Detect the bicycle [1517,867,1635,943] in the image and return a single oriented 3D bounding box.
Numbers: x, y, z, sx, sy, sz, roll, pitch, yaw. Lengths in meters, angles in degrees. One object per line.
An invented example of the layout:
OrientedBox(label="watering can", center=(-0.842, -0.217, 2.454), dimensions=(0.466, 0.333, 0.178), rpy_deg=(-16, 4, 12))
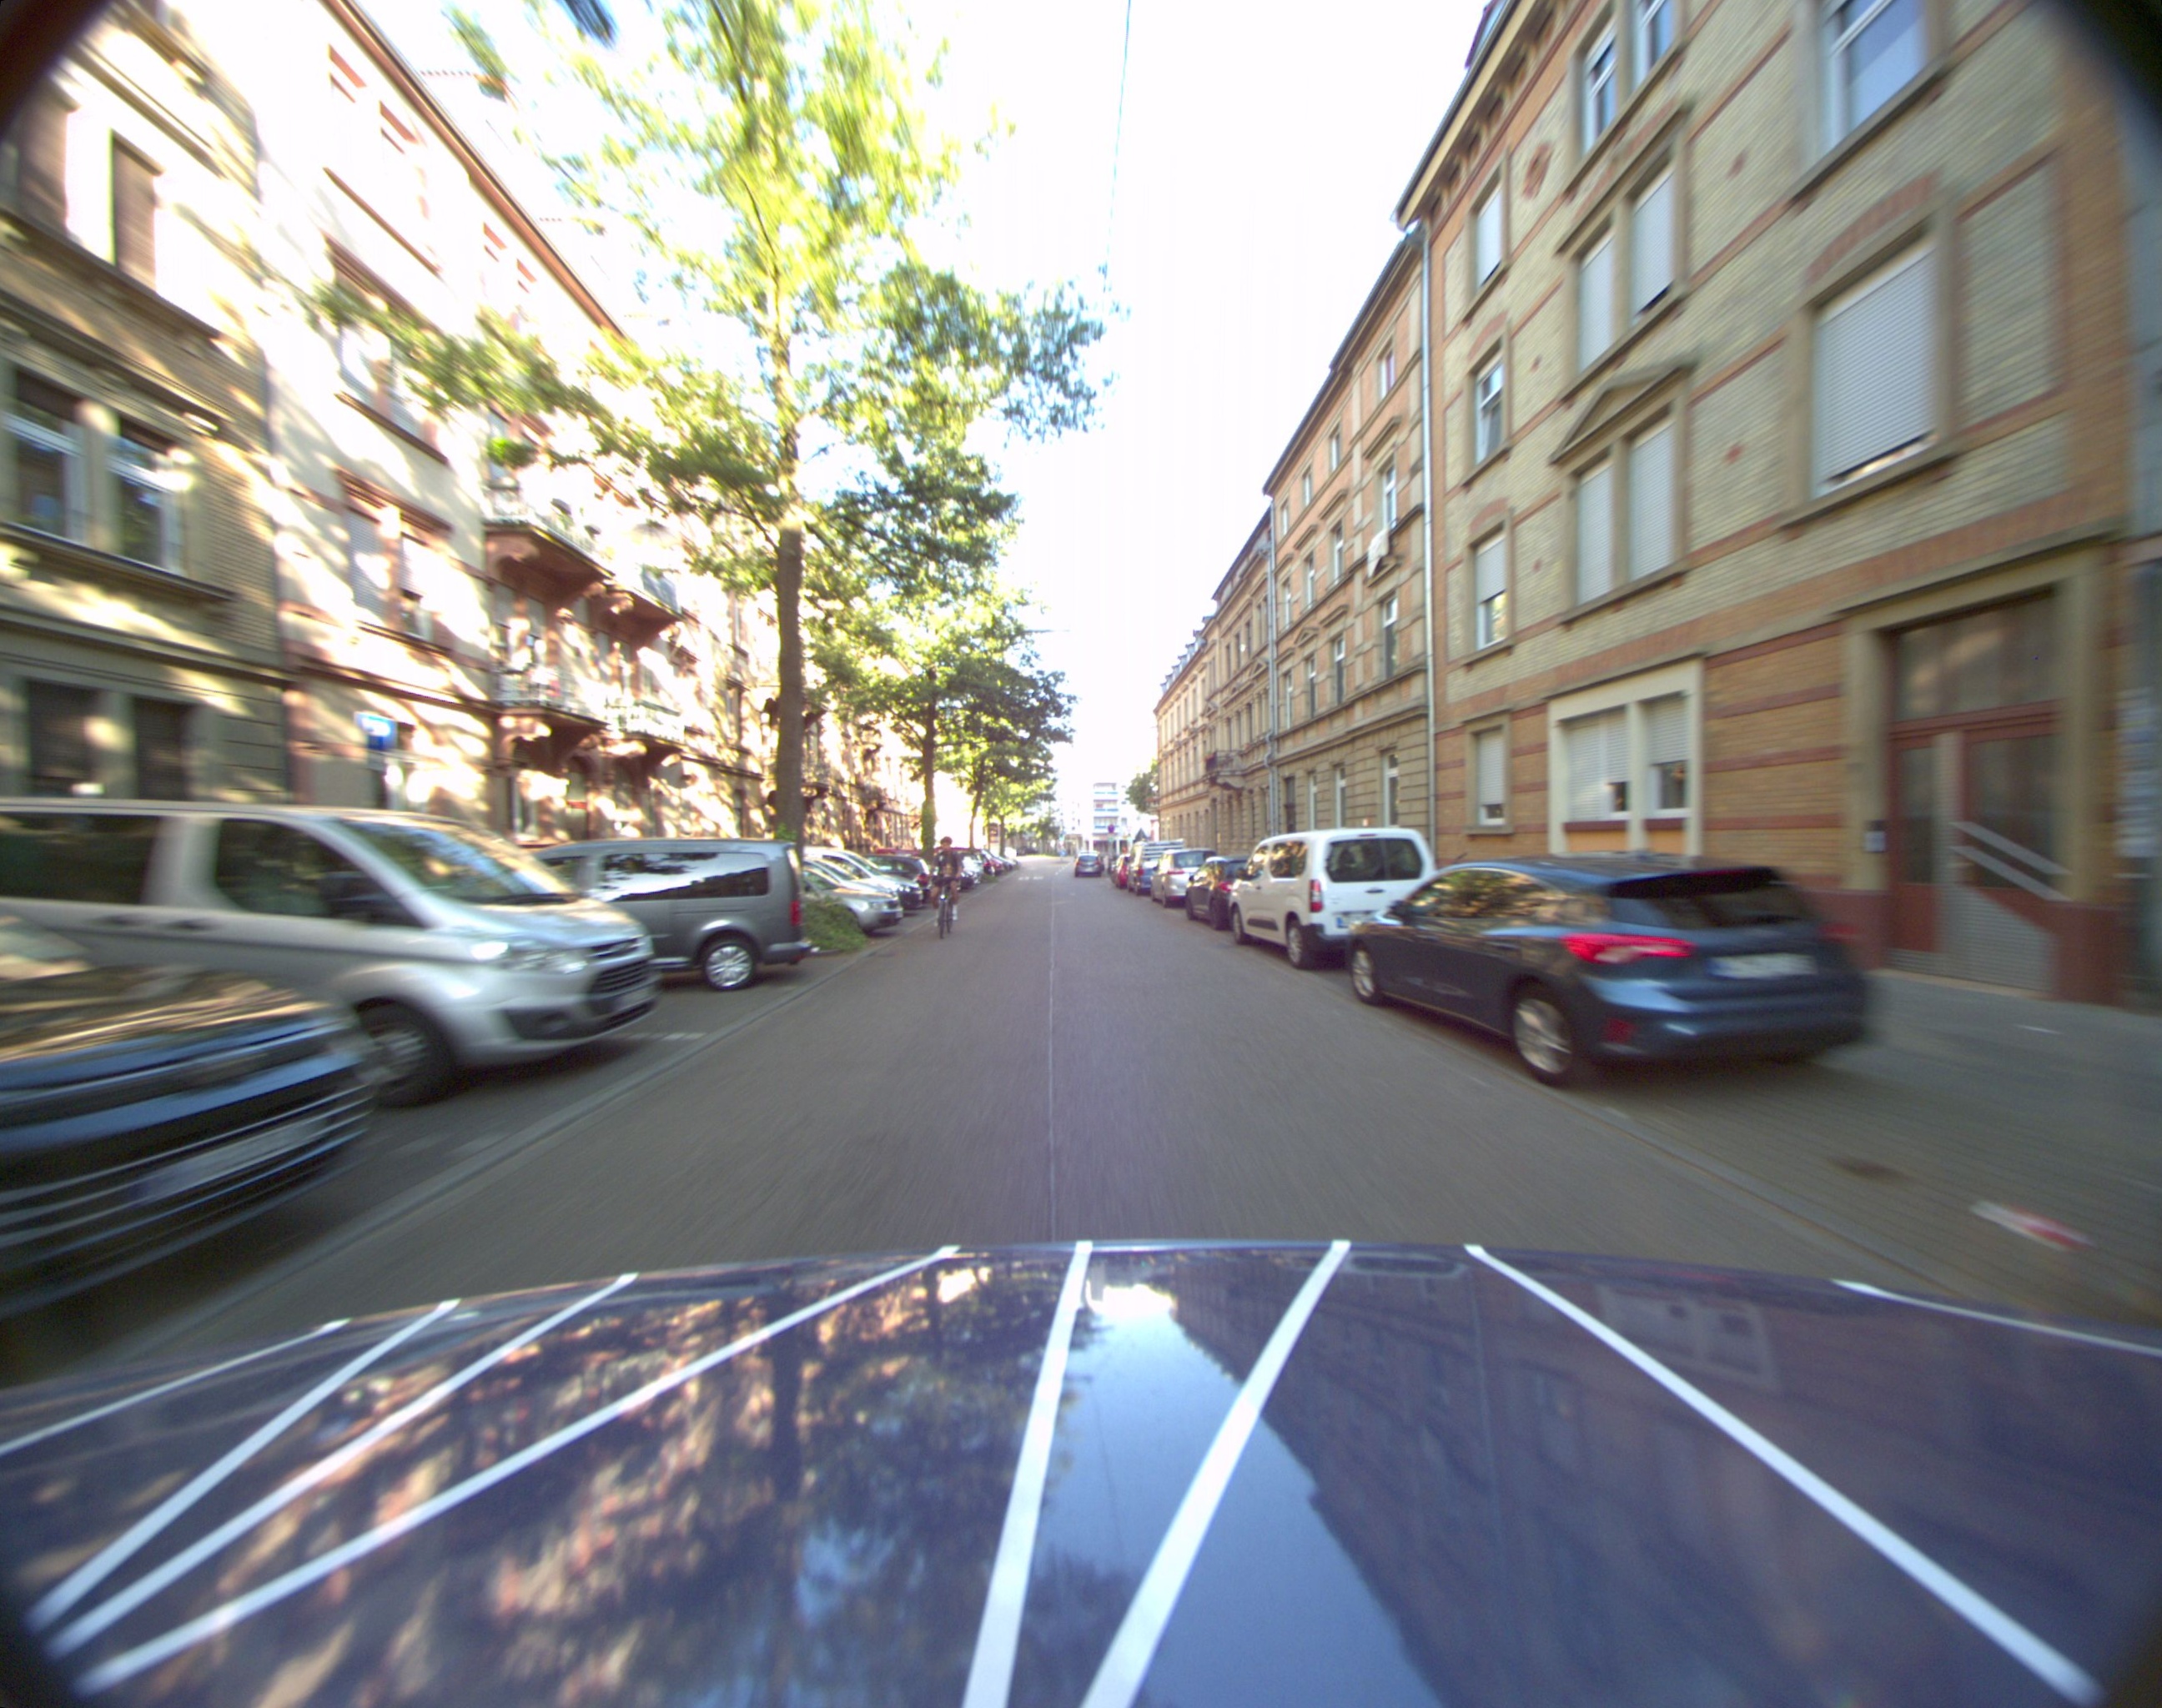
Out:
OrientedBox(label="bicycle", center=(7.626, 0.751, 11.821), dimensions=(0.495, 1.017, 1.908), rpy_deg=(-2, 1, -3))

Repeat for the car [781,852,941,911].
OrientedBox(label="car", center=(-6.423, 0.799, 22.561), dimensions=(4.244, 1.579, 1.738), rpy_deg=(1, 1, -4))

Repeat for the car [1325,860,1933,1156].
OrientedBox(label="car", center=(3.632, 0.833, 6.180), dimensions=(1.751, 1.464, 4.243), rpy_deg=(-2, 1, -3))

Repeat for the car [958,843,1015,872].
OrientedBox(label="car", center=(-7.098, 0.234, 57.470), dimensions=(4.057, 1.922, 1.780), rpy_deg=(3, 1, -2))

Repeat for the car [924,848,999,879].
OrientedBox(label="car", center=(-6.986, 0.538, 44.820), dimensions=(4.057, 1.612, 1.780), rpy_deg=(3, 1, -1))

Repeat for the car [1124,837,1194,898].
OrientedBox(label="car", center=(2.831, 0.447, 28.704), dimensions=(1.947, 2.045, 4.743), rpy_deg=(-2, 1, -2))

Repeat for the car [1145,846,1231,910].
OrientedBox(label="car", center=(3.063, 0.636, 22.493), dimensions=(1.771, 1.648, 4.156), rpy_deg=(-2, 1, -2))

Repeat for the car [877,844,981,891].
OrientedBox(label="car", center=(-6.514, 0.572, 32.871), dimensions=(4.057, 1.876, 1.781), rpy_deg=(1, 1, 0))

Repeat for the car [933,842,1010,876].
OrientedBox(label="car", center=(-7.161, 0.305, 50.127), dimensions=(4.700, 1.966, 1.925), rpy_deg=(3, 1, -2))

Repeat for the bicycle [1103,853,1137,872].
OrientedBox(label="bicycle", center=(2.474, 0.558, 48.180), dimensions=(2.043, 1.092, 0.587), rpy_deg=(-2, 1, 0))

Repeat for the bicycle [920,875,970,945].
OrientedBox(label="bicycle", center=(-2.688, 1.076, 15.216), dimensions=(0.712, 1.252, 1.887), rpy_deg=(-1, 1, -2))

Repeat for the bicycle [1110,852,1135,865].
OrientedBox(label="bicycle", center=(3.571, 0.377, 65.392), dimensions=(2.042, 1.092, 0.500), rpy_deg=(-2, 1, 7))

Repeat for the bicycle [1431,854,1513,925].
OrientedBox(label="bicycle", center=(7.544, 0.652, 14.754), dimensions=(0.495, 1.250, 1.908), rpy_deg=(-2, 1, -3))

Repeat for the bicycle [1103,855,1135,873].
OrientedBox(label="bicycle", center=(2.487, 0.666, 49.649), dimensions=(2.043, 1.092, 0.587), rpy_deg=(-2, 1, 0))

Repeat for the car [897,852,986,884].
OrientedBox(label="car", center=(-6.888, 0.676, 37.870), dimensions=(4.057, 1.473, 1.781), rpy_deg=(1, 1, 0))

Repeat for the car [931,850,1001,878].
OrientedBox(label="car", center=(-7.118, 0.604, 47.453), dimensions=(4.057, 1.447, 1.780), rpy_deg=(3, 1, -2))

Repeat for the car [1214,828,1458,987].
OrientedBox(label="car", center=(3.478, 0.619, 11.425), dimensions=(1.847, 1.823, 4.605), rpy_deg=(-2, 1, -3))

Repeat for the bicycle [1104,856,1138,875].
OrientedBox(label="bicycle", center=(2.494, 0.698, 47.470), dimensions=(2.043, 1.092, 0.587), rpy_deg=(-2, 1, 0))

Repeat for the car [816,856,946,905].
OrientedBox(label="car", center=(-6.535, 0.850, 25.129), dimensions=(3.845, 1.452, 1.738), rpy_deg=(1, 1, -4))

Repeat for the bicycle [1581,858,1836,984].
OrientedBox(label="bicycle", center=(7.498, 0.712, 9.338), dimensions=(0.630, 1.273, 2.667), rpy_deg=(-2, 1, -9))

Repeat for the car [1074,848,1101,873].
OrientedBox(label="car", center=(0.447, 0.423, 53.656), dimensions=(1.745, 1.630, 3.824), rpy_deg=(-2, 1, 0))

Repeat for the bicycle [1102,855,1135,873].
OrientedBox(label="bicycle", center=(2.433, 0.658, 48.971), dimensions=(2.043, 1.092, 0.499), rpy_deg=(-2, 1, 0))

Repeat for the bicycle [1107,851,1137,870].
OrientedBox(label="bicycle", center=(2.960, 0.497, 54.697), dimensions=(2.043, 1.271, 0.499), rpy_deg=(-2, 1, 0))

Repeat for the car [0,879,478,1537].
OrientedBox(label="car", center=(-5.338, 0.927, 2.472), dimensions=(4.934, 1.623, 2.077), rpy_deg=(1, 1, -5))

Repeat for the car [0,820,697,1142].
OrientedBox(label="car", center=(-5.856, 0.752, 5.587), dimensions=(4.934, 1.890, 2.175), rpy_deg=(1, 1, -5))

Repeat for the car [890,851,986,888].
OrientedBox(label="car", center=(-6.591, 0.703, 35.301), dimensions=(4.057, 1.571, 1.781), rpy_deg=(1, 1, 0))

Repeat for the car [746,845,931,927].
OrientedBox(label="car", center=(-6.299, 0.798, 20.091), dimensions=(4.242, 1.875, 1.782), rpy_deg=(-2, 1, -1))

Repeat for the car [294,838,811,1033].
OrientedBox(label="car", center=(-5.793, 0.777, 9.127), dimensions=(4.684, 1.879, 1.904), rpy_deg=(0, 0, -23))

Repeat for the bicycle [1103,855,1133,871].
OrientedBox(label="bicycle", center=(2.600, 0.632, 53.351), dimensions=(2.043, 1.092, 0.499), rpy_deg=(-2, 1, 0))

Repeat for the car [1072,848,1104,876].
OrientedBox(label="car", center=(0.421, 0.494, 48.529), dimensions=(1.868, 1.620, 3.824), rpy_deg=(-2, 1, 0))

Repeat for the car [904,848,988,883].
OrientedBox(label="car", center=(-7.075, 0.582, 40.153), dimensions=(4.057, 1.612, 1.780), rpy_deg=(3, 1, -1))

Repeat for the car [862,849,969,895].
OrientedBox(label="car", center=(-6.557, 0.697, 30.420), dimensions=(3.844, 1.673, 1.738), rpy_deg=(1, 1, 0))

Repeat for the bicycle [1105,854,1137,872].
OrientedBox(label="bicycle", center=(2.682, 0.600, 51.065), dimensions=(2.043, 1.092, 0.499), rpy_deg=(-2, 1, 0))

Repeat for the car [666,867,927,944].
OrientedBox(label="car", center=(-5.506, 0.978, 15.138), dimensions=(4.469, 1.360, 1.902), rpy_deg=(0, 1, 0))

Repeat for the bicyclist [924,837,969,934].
OrientedBox(label="bicyclist", center=(-2.682, 0.599, 15.257), dimensions=(0.712, 1.865, 1.120), rpy_deg=(-1, 1, -2))

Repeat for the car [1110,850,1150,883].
OrientedBox(label="car", center=(2.463, 0.603, 38.791), dimensions=(1.641, 1.482, 3.824), rpy_deg=(-2, 1, -2))

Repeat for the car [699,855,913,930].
OrientedBox(label="car", center=(-6.164, 0.852, 17.456), dimensions=(4.244, 1.594, 1.902), rpy_deg=(0, 1, -4))

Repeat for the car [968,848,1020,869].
OrientedBox(label="car", center=(-7.127, 0.376, 62.509), dimensions=(4.057, 1.521, 1.780), rpy_deg=(3, 1, -2))

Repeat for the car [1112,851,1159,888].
OrientedBox(label="car", center=(2.397, 0.650, 34.223), dimensions=(1.641, 1.482, 3.824), rpy_deg=(-2, 1, -2))

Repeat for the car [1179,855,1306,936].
OrientedBox(label="car", center=(3.270, 0.779, 16.132), dimensions=(1.641, 1.413, 3.823), rpy_deg=(-2, 1, -3))
